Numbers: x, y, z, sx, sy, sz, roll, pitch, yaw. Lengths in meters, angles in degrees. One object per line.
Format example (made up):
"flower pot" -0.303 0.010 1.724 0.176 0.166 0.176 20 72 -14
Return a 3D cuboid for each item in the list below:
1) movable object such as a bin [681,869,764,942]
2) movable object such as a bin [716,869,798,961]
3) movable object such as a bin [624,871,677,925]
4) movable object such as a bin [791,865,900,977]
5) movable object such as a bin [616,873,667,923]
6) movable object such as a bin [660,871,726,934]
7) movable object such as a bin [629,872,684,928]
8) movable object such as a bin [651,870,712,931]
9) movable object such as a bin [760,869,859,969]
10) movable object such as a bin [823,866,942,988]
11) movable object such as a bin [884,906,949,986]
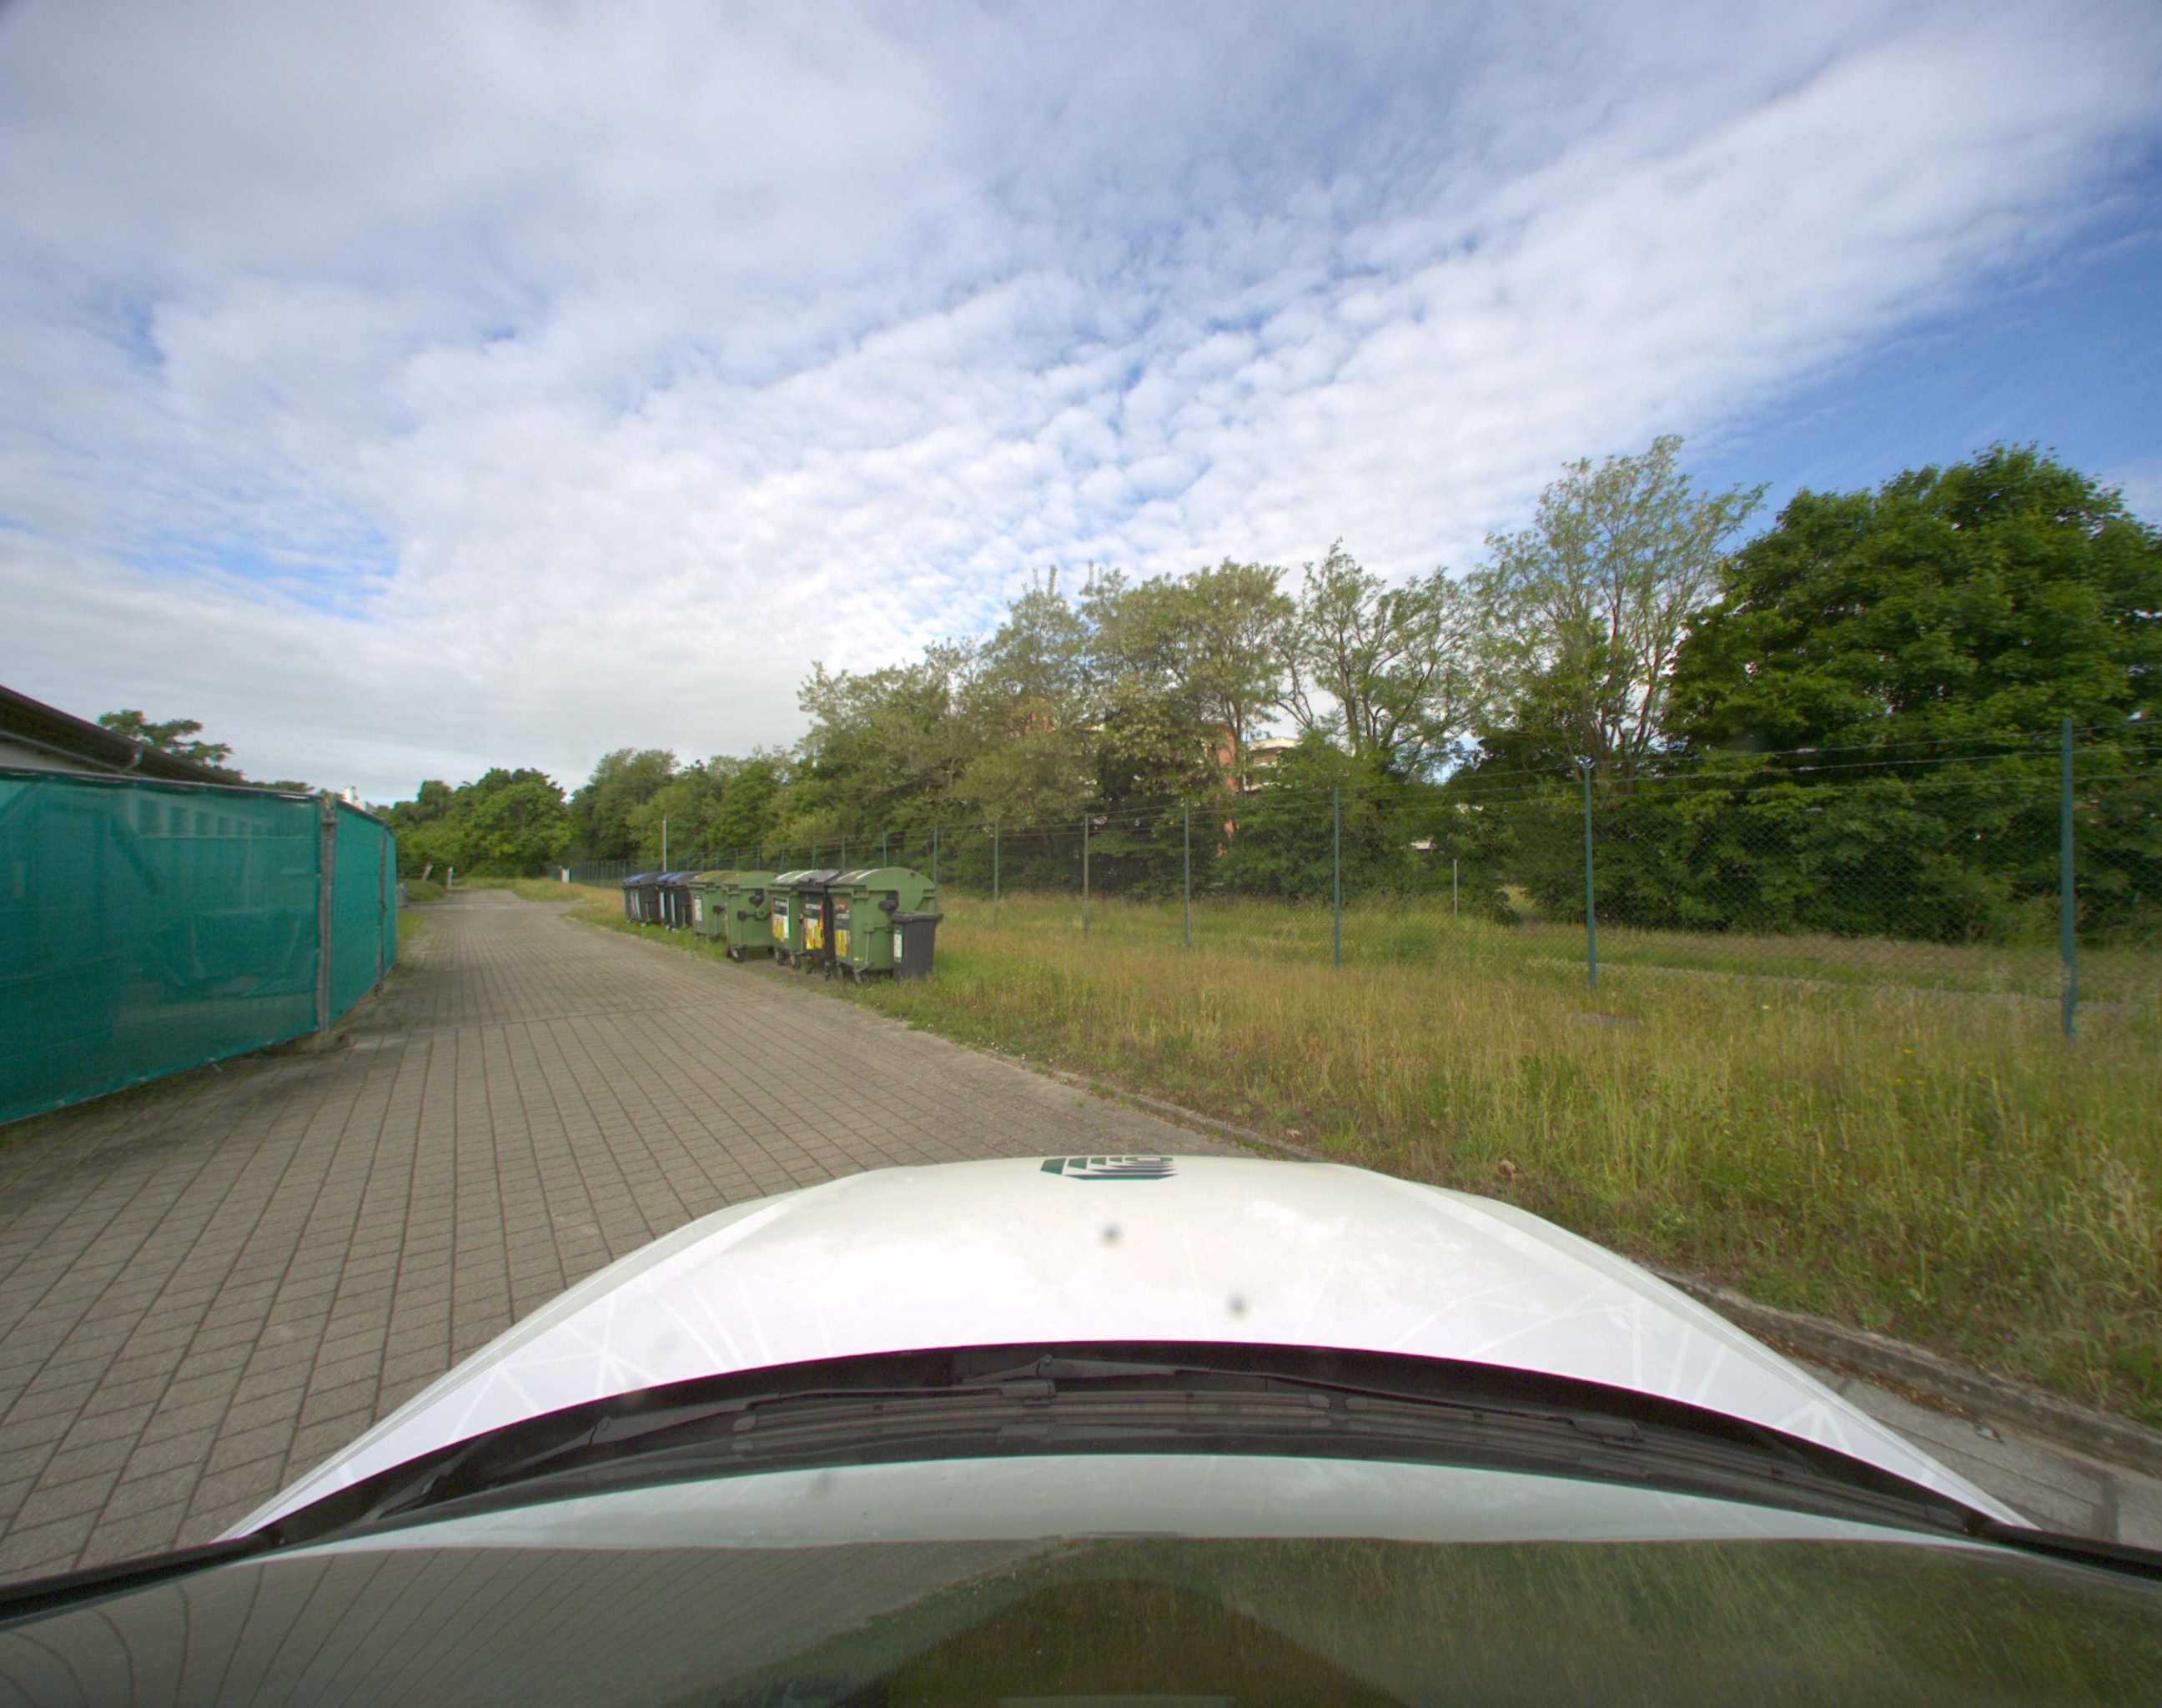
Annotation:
"movable object such as a bin" -6.826 0.956 15.491 1.132 1.296 1.364 1 -3 -38
"movable object such as a bin" -5.341 0.968 13.396 1.129 1.398 1.373 1 -3 -27
"movable object such as a bin" -11.359 1.148 21.472 1.130 1.379 1.311 1 -3 -32
"movable object such as a bin" -3.294 0.894 11.330 1.077 1.435 1.383 1 -3 -35
"movable object such as a bin" -12.205 1.203 22.606 1.130 1.351 1.411 1 -3 -32
"movable object such as a bin" -8.636 1.059 18.095 1.162 1.325 1.478 1 -3 -32
"movable object such as a bin" -10.643 1.123 20.399 1.130 1.321 1.312 0 -1 -32
"movable object such as a bin" -9.522 1.090 19.387 1.130 1.374 1.478 1 -3 -32
"movable object such as a bin" -4.127 0.948 12.351 1.077 1.406 1.370 1 -3 -35
"movable object such as a bin" -2.516 0.866 10.237 1.135 1.396 1.343 1 -3 -29
"movable object such as a bin" -1.915 1.050 9.478 0.603 0.866 0.580 1 -3 -29
